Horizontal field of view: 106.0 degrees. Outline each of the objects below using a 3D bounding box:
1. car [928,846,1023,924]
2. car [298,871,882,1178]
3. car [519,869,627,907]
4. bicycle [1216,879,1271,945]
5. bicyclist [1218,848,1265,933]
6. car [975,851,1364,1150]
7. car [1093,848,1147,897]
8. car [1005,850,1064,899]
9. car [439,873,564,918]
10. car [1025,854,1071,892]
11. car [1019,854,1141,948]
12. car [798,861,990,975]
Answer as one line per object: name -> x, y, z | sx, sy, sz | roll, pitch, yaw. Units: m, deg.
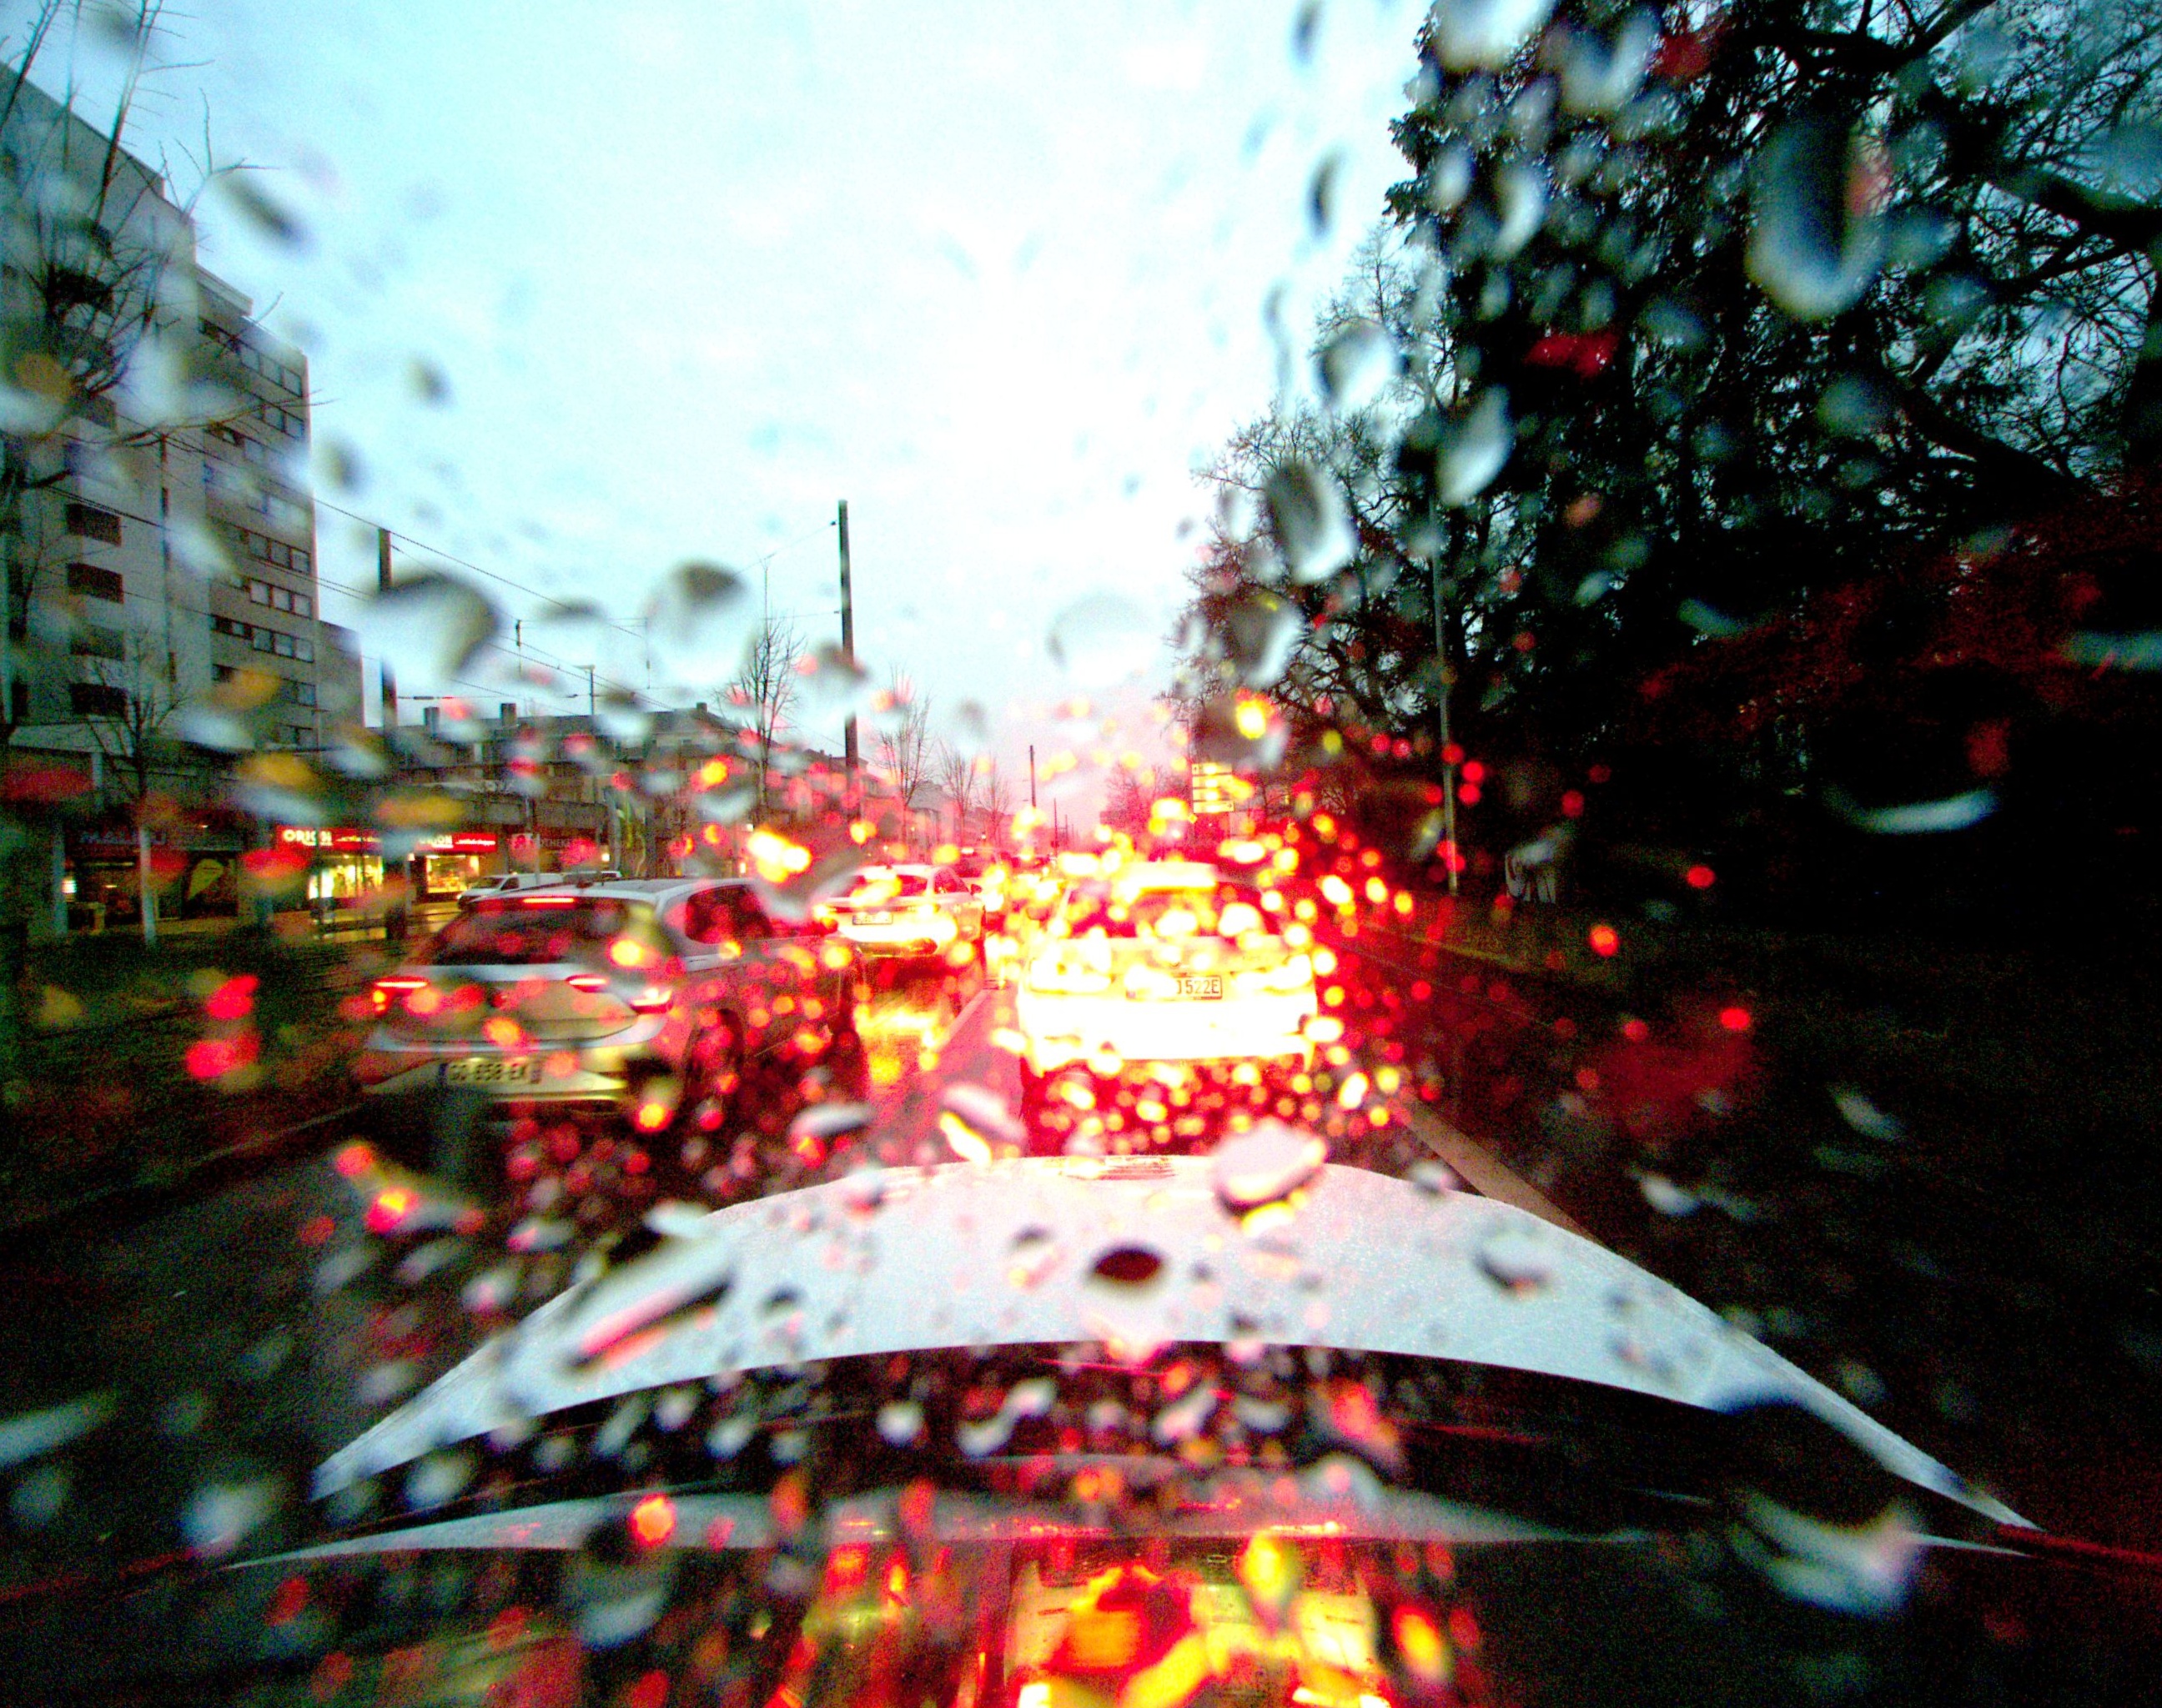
car -> -2.542, 0.719, 20.680 | 1.788, 1.736, 4.536 | -1, 0, 0
car -> -2.839, 0.859, 5.892 | 1.756, 1.371, 3.981 | -1, 0, 1
car -> -30.730, 2.026, 49.355 | 5.193, 1.912, 1.975 | -3, 0, -44
bicycle -> 2.776, 0.964, 14.098 | 0.642, 0.966, 2.049 | -2, 0, 4
bicyclist -> 2.749, 0.614, 14.001 | 0.642, 1.389, 0.891 | -2, 0, 4
car -> 0.527, 0.763, 6.333 | 1.992, 1.508, 4.165 | -2, 0, 2
car -> 1.398, 0.630, 29.788 | 1.800, 1.646, 4.002 | -1, 0, 2
car -> -1.645, 0.690, 30.051 | 1.800, 1.646, 4.002 | -1, 0, 2
car -> -29.823, 2.087, 42.182 | 1.980, 1.912, 5.182 | -3, 0, 13
car -> -1.478, 0.846, 38.081 | 1.800, 1.646, 4.002 | -1, 0, 2
car -> 0.048, 0.765, 15.208 | 1.928, 1.457, 4.165 | -2, 0, 2
car -> -2.641, 0.830, 12.676 | 1.840, 1.405, 4.614 | -1, 0, 1
